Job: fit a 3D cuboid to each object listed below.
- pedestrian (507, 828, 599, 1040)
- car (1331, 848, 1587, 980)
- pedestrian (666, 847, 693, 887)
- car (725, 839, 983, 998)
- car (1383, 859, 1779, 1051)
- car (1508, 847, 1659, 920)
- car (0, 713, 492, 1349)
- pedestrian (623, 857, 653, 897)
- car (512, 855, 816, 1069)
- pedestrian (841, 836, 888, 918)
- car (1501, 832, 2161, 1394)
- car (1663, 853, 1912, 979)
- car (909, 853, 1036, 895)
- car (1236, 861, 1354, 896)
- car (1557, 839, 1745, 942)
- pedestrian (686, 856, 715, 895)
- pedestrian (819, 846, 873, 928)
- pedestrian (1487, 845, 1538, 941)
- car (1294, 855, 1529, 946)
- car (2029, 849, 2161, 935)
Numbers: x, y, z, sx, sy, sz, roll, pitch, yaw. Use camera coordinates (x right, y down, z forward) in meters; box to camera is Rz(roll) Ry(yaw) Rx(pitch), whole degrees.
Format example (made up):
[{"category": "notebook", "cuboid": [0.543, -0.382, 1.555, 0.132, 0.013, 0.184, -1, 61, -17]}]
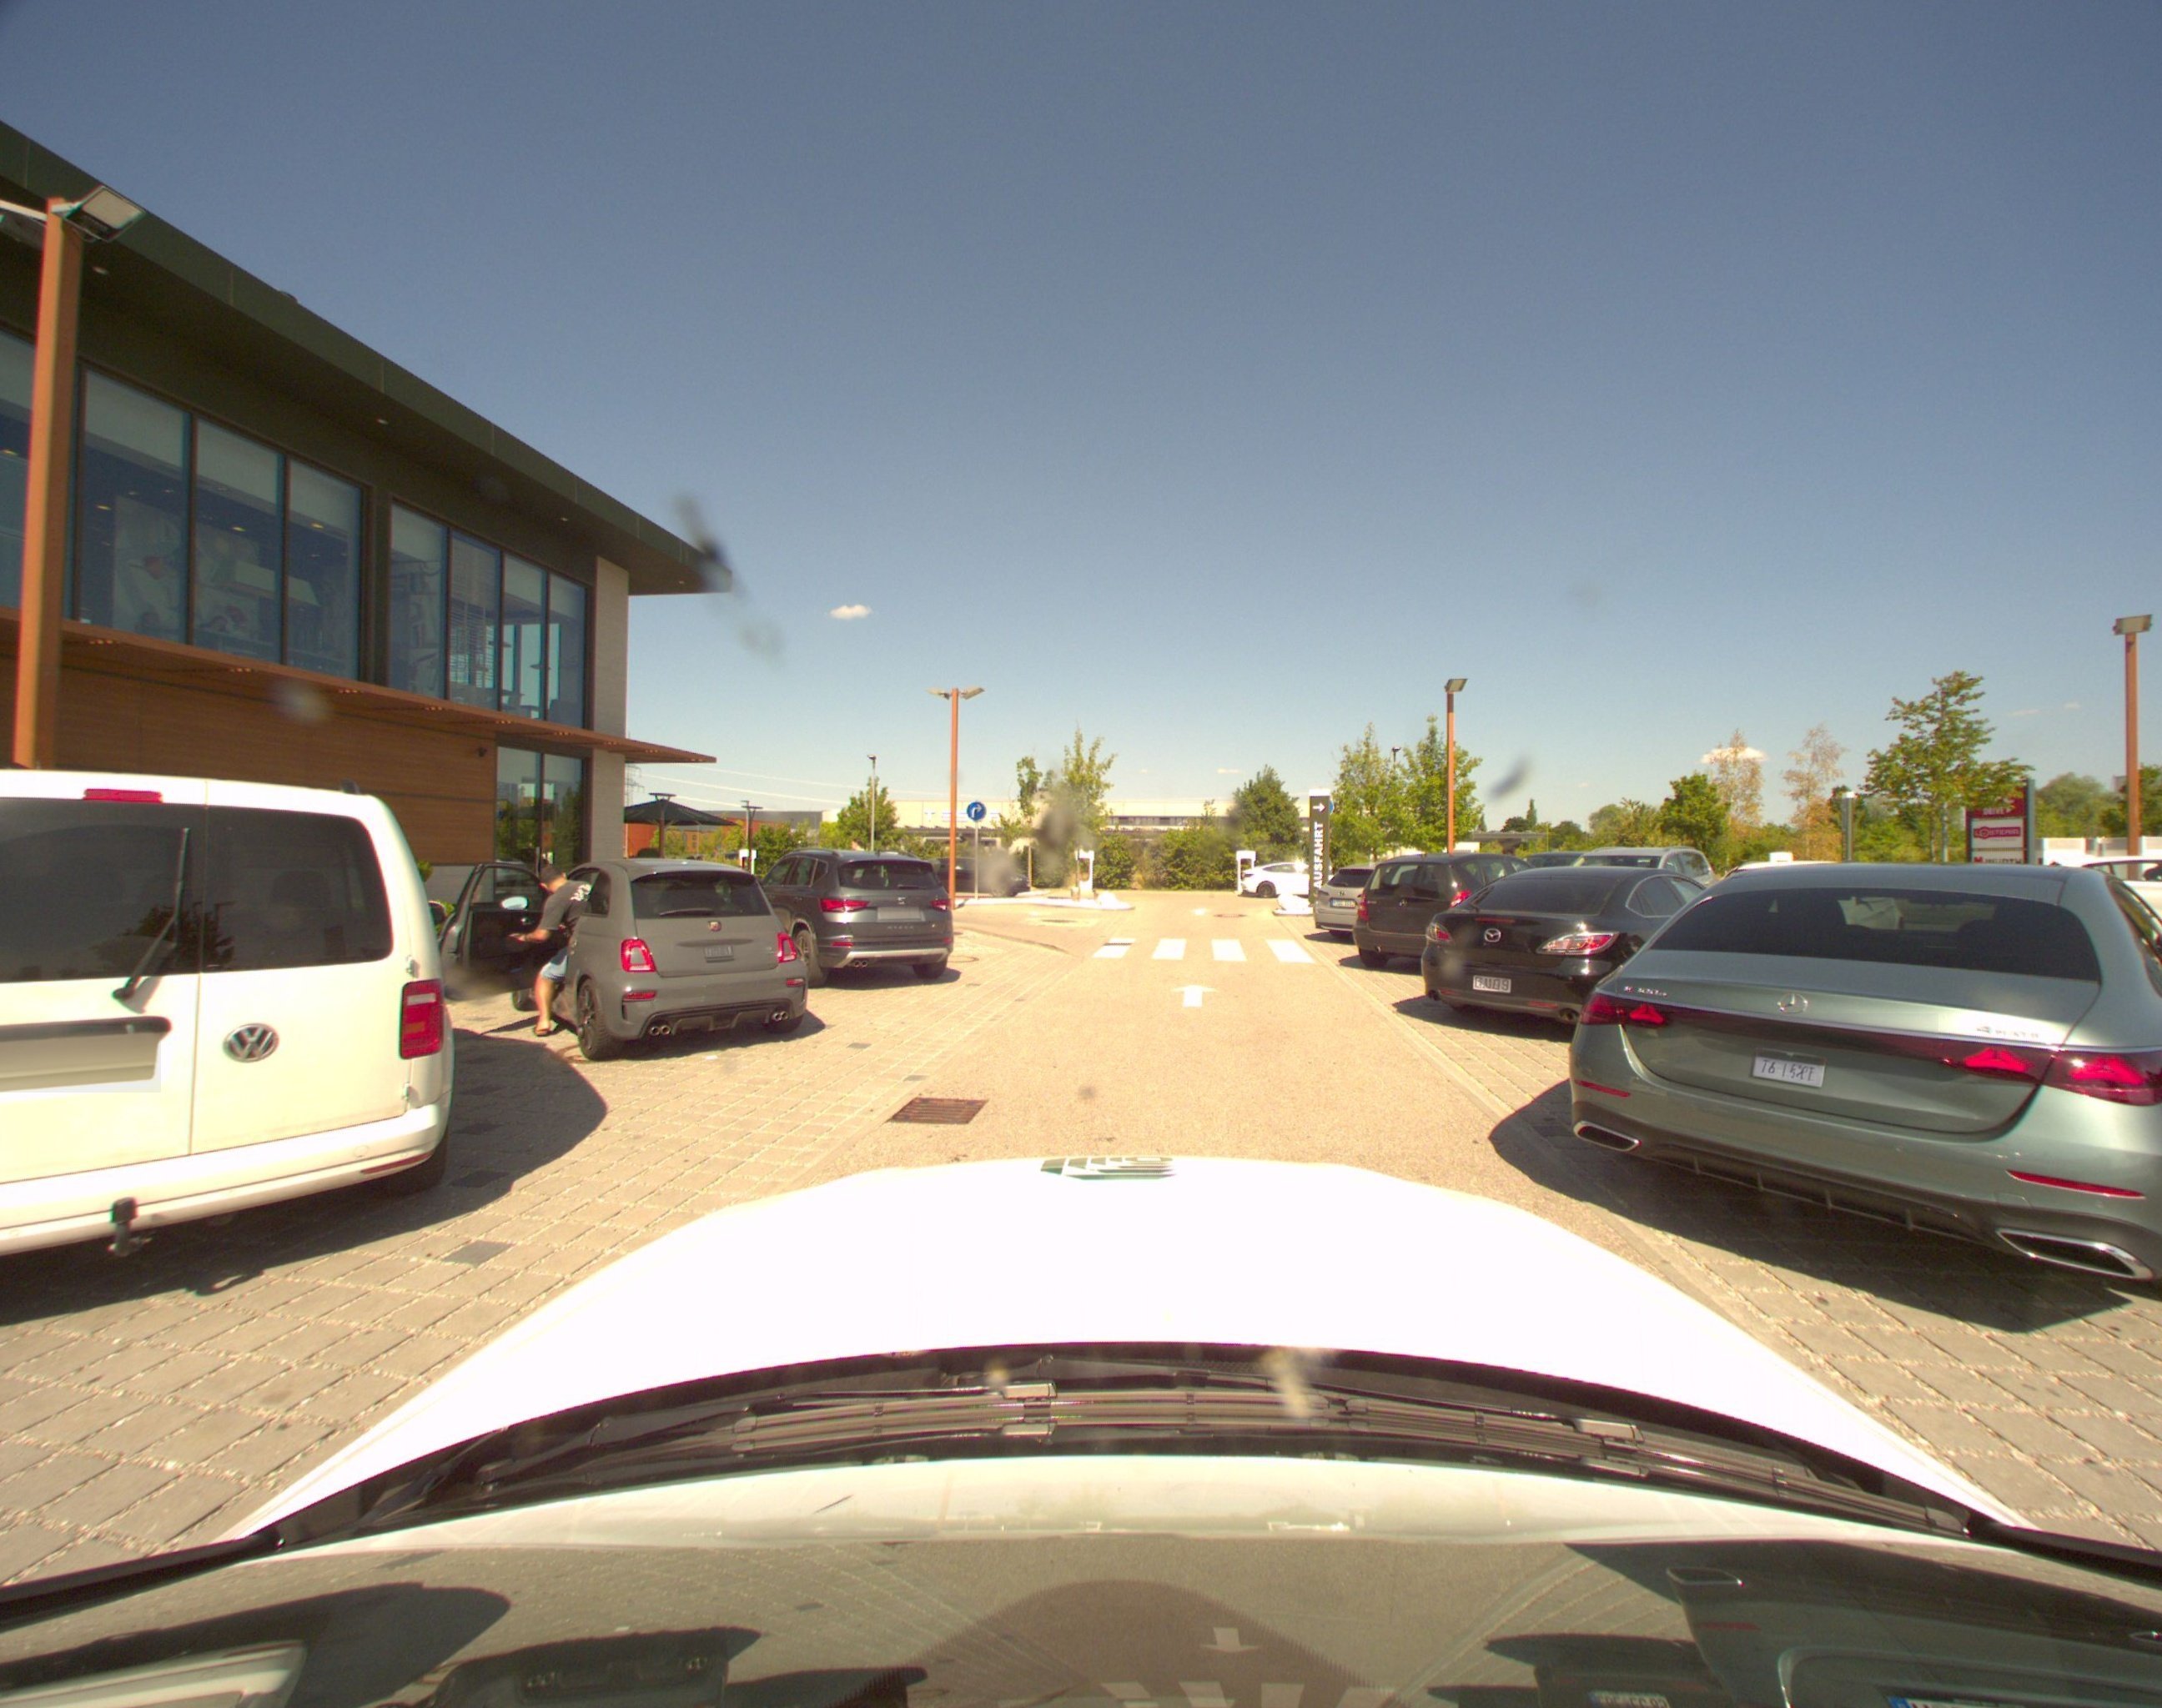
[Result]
[{"category": "pedestrian", "cuboid": [-4.434, 0.634, 6.841, 0.616, 1.685, 0.438, 0, -1, -37]}, {"category": "car", "cuboid": [5.565, 0.737, 11.789, 4.020, 1.593, 1.791, 0, -1, -39]}, {"category": "pedestrian", "cuboid": [-12.654, 0.402, 25.674, 0.520, 1.258, 0.635, 0, 0, 4]}, {"category": "car", "cuboid": [-3.180, 0.686, 10.789, 1.799, 1.603, 4.180, 3, 0, -38]}, {"category": "car", "cuboid": [5.041, 0.776, 8.063, 4.092, 1.449, 1.809, 0, -1, -34]}, {"category": "car", "cuboid": [11.933, 0.612, 19.249, 4.213, 1.537, 1.873, -1, 0, -41]}, {"category": "car", "cuboid": [-4.468, 0.547, 4.156, 1.768, 1.921, 4.094, 1, -1, -44]}, {"category": "pedestrian", "cuboid": [-14.039, 0.712, 25.832, 0.520, 1.258, 0.716, 0, 0, 4]}, {"category": "car", "cuboid": [-3.928, 0.754, 7.426, 1.577, 1.482, 3.373, 1, 0, -43]}, {"category": "pedestrian", "cuboid": [-4.762, 0.505, 17.993, 0.798, 1.768, 0.897, 0, 0, 0]}, {"category": "car", "cuboid": [4.267, 0.712, 4.224, 4.562, 1.511, 1.866, 0, -1, -36]}, {"category": "car", "cuboid": [9.769, 0.703, 11.167, 4.101, 1.408, 1.773, 0, 0, -37]}, {"category": "car", "cuboid": [-3.851, 0.738, 29.193, 4.177, 1.441, 1.701, 0, -3, 7]}, {"category": "car", "cuboid": [8.542, 0.956, 32.838, 4.409, 1.377, 1.826, 0, -1, 8]}, {"category": "car", "cuboid": [10.590, 0.583, 15.033, 4.086, 1.640, 1.728, 0, 0, -38]}, {"category": "pedestrian", "cuboid": [-12.448, 0.704, 26.643, 0.569, 1.258, 0.730, 0, 0, 4]}, {"category": "pedestrian", "cuboid": [-4.654, 0.642, 16.174, 0.720, 1.584, 0.745, 0, 0, 18]}, {"category": "pedestrian", "cuboid": [7.857, 0.693, 14.837, 0.565, 1.713, 0.605, 0, -1, -29]}, {"category": "car", "cuboid": [6.336, 0.762, 15.424, 4.681, 1.447, 1.816, -1, 0, -34]}, {"category": "car", "cuboid": [19.175, 0.638, 13.724, 1.854, 1.425, 4.136, 0, -1, -41]}]
